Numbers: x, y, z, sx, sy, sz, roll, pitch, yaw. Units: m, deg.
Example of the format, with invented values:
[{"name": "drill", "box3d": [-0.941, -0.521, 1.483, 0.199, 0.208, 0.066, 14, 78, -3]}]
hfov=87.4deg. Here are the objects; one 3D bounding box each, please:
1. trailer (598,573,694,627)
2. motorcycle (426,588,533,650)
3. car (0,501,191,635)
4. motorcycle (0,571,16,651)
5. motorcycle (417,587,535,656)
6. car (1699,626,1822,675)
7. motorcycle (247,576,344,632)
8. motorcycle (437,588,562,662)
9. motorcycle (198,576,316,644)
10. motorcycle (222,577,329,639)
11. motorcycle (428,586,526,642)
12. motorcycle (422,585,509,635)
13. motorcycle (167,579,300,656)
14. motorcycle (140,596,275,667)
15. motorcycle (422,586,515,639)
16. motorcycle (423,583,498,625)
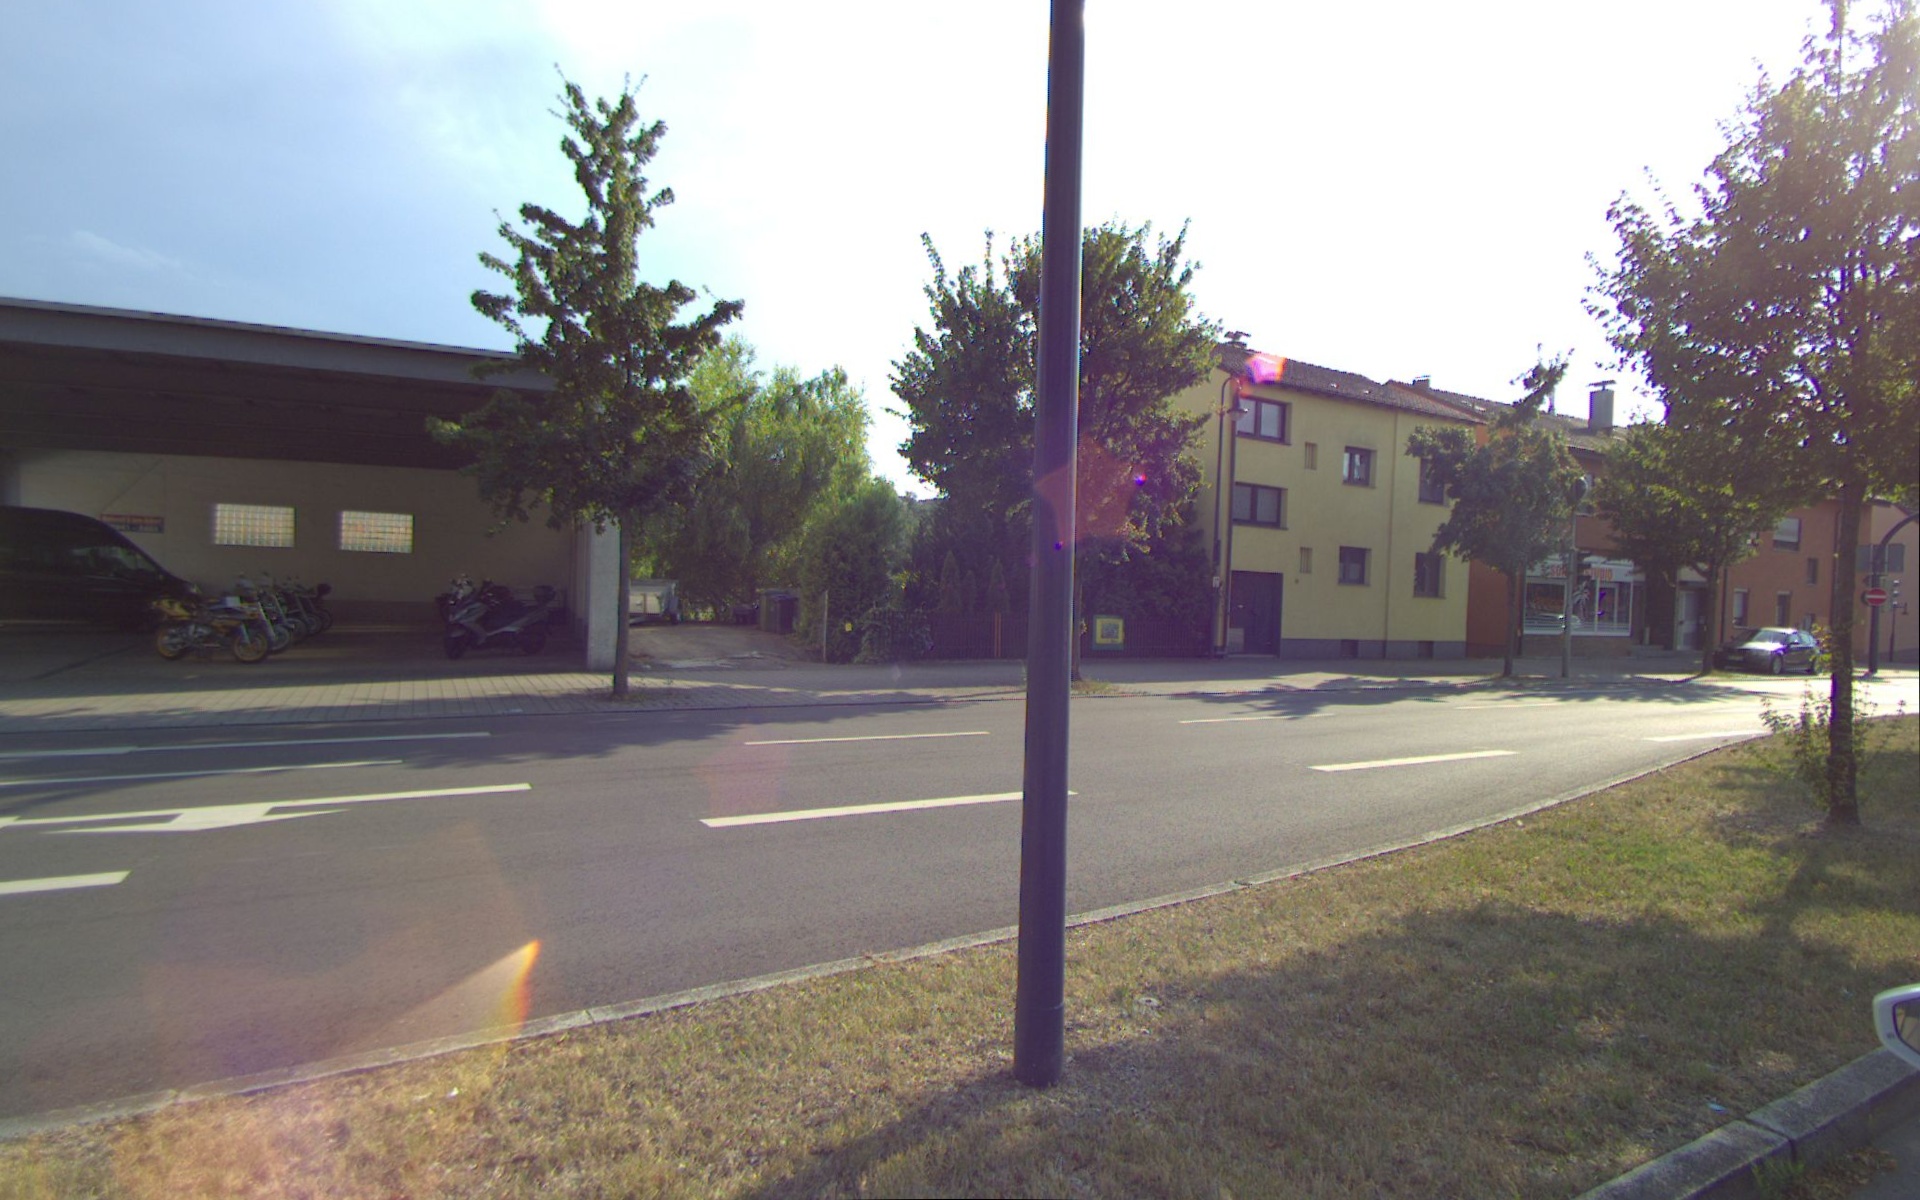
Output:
[{"name": "trailer", "box3d": [-8.219, -0.004, 26.612, 1.698, 1.280, 3.995, 1, 0, -7]}, {"name": "motorcycle", "box3d": [-10.744, 0.386, 22.531, 0.621, 1.314, 2.113, 1, 2, 36]}, {"name": "car", "box3d": [-20.454, -0.679, 22.085, 1.962, 2.789, 5.280, 1, 0, 26]}, {"name": "motorcycle", "box3d": [-17.289, 0.171, 16.718, 0.619, 1.380, 2.225, 1, 0, 24]}, {"name": "motorcycle", "box3d": [-9.814, 0.404, 20.453, 0.621, 1.314, 2.113, 1, 2, 36]}, {"name": "car", "box3d": [25.967, 1.599, 32.549, 3.953, 1.319, 1.728, 1, 4, -30]}, {"name": "motorcycle", "box3d": [-16.911, 0.105, 25.567, 2.219, 1.354, 0.631, 1, 0, 10]}, {"name": "motorcycle", "box3d": [-8.621, 0.432, 18.891, 0.621, 1.314, 2.113, 1, 2, 36]}, {"name": "motorcycle", "box3d": [-14.754, 0.207, 21.099, 2.219, 1.354, 0.631, 1, 0, 10]}, {"name": "motorcycle", "box3d": [-15.886, 0.184, 23.308, 2.219, 1.354, 0.631, 1, 0, 10]}, {"name": "motorcycle", "box3d": [-11.768, 0.314, 24.532, 0.621, 1.314, 2.113, 1, 2, 36]}, {"name": "motorcycle", "box3d": [-13.515, 0.243, 27.512, 0.621, 1.314, 2.113, 1, 2, 36]}, {"name": "motorcycle", "box3d": [-13.634, 0.321, 18.856, 2.219, 1.354, 0.631, 1, 0, 10]}, {"name": "motorcycle", "box3d": [-12.498, 0.505, 16.691, 1.993, 1.101, 0.631, 1, 0, 12]}, {"name": "motorcycle", "box3d": [-12.650, 0.295, 25.914, 0.621, 1.314, 2.113, 1, 2, 36]}, {"name": "motorcycle", "box3d": [-15.961, 0.104, 32.171, 0.621, 1.314, 2.113, 1, 2, 36]}]
